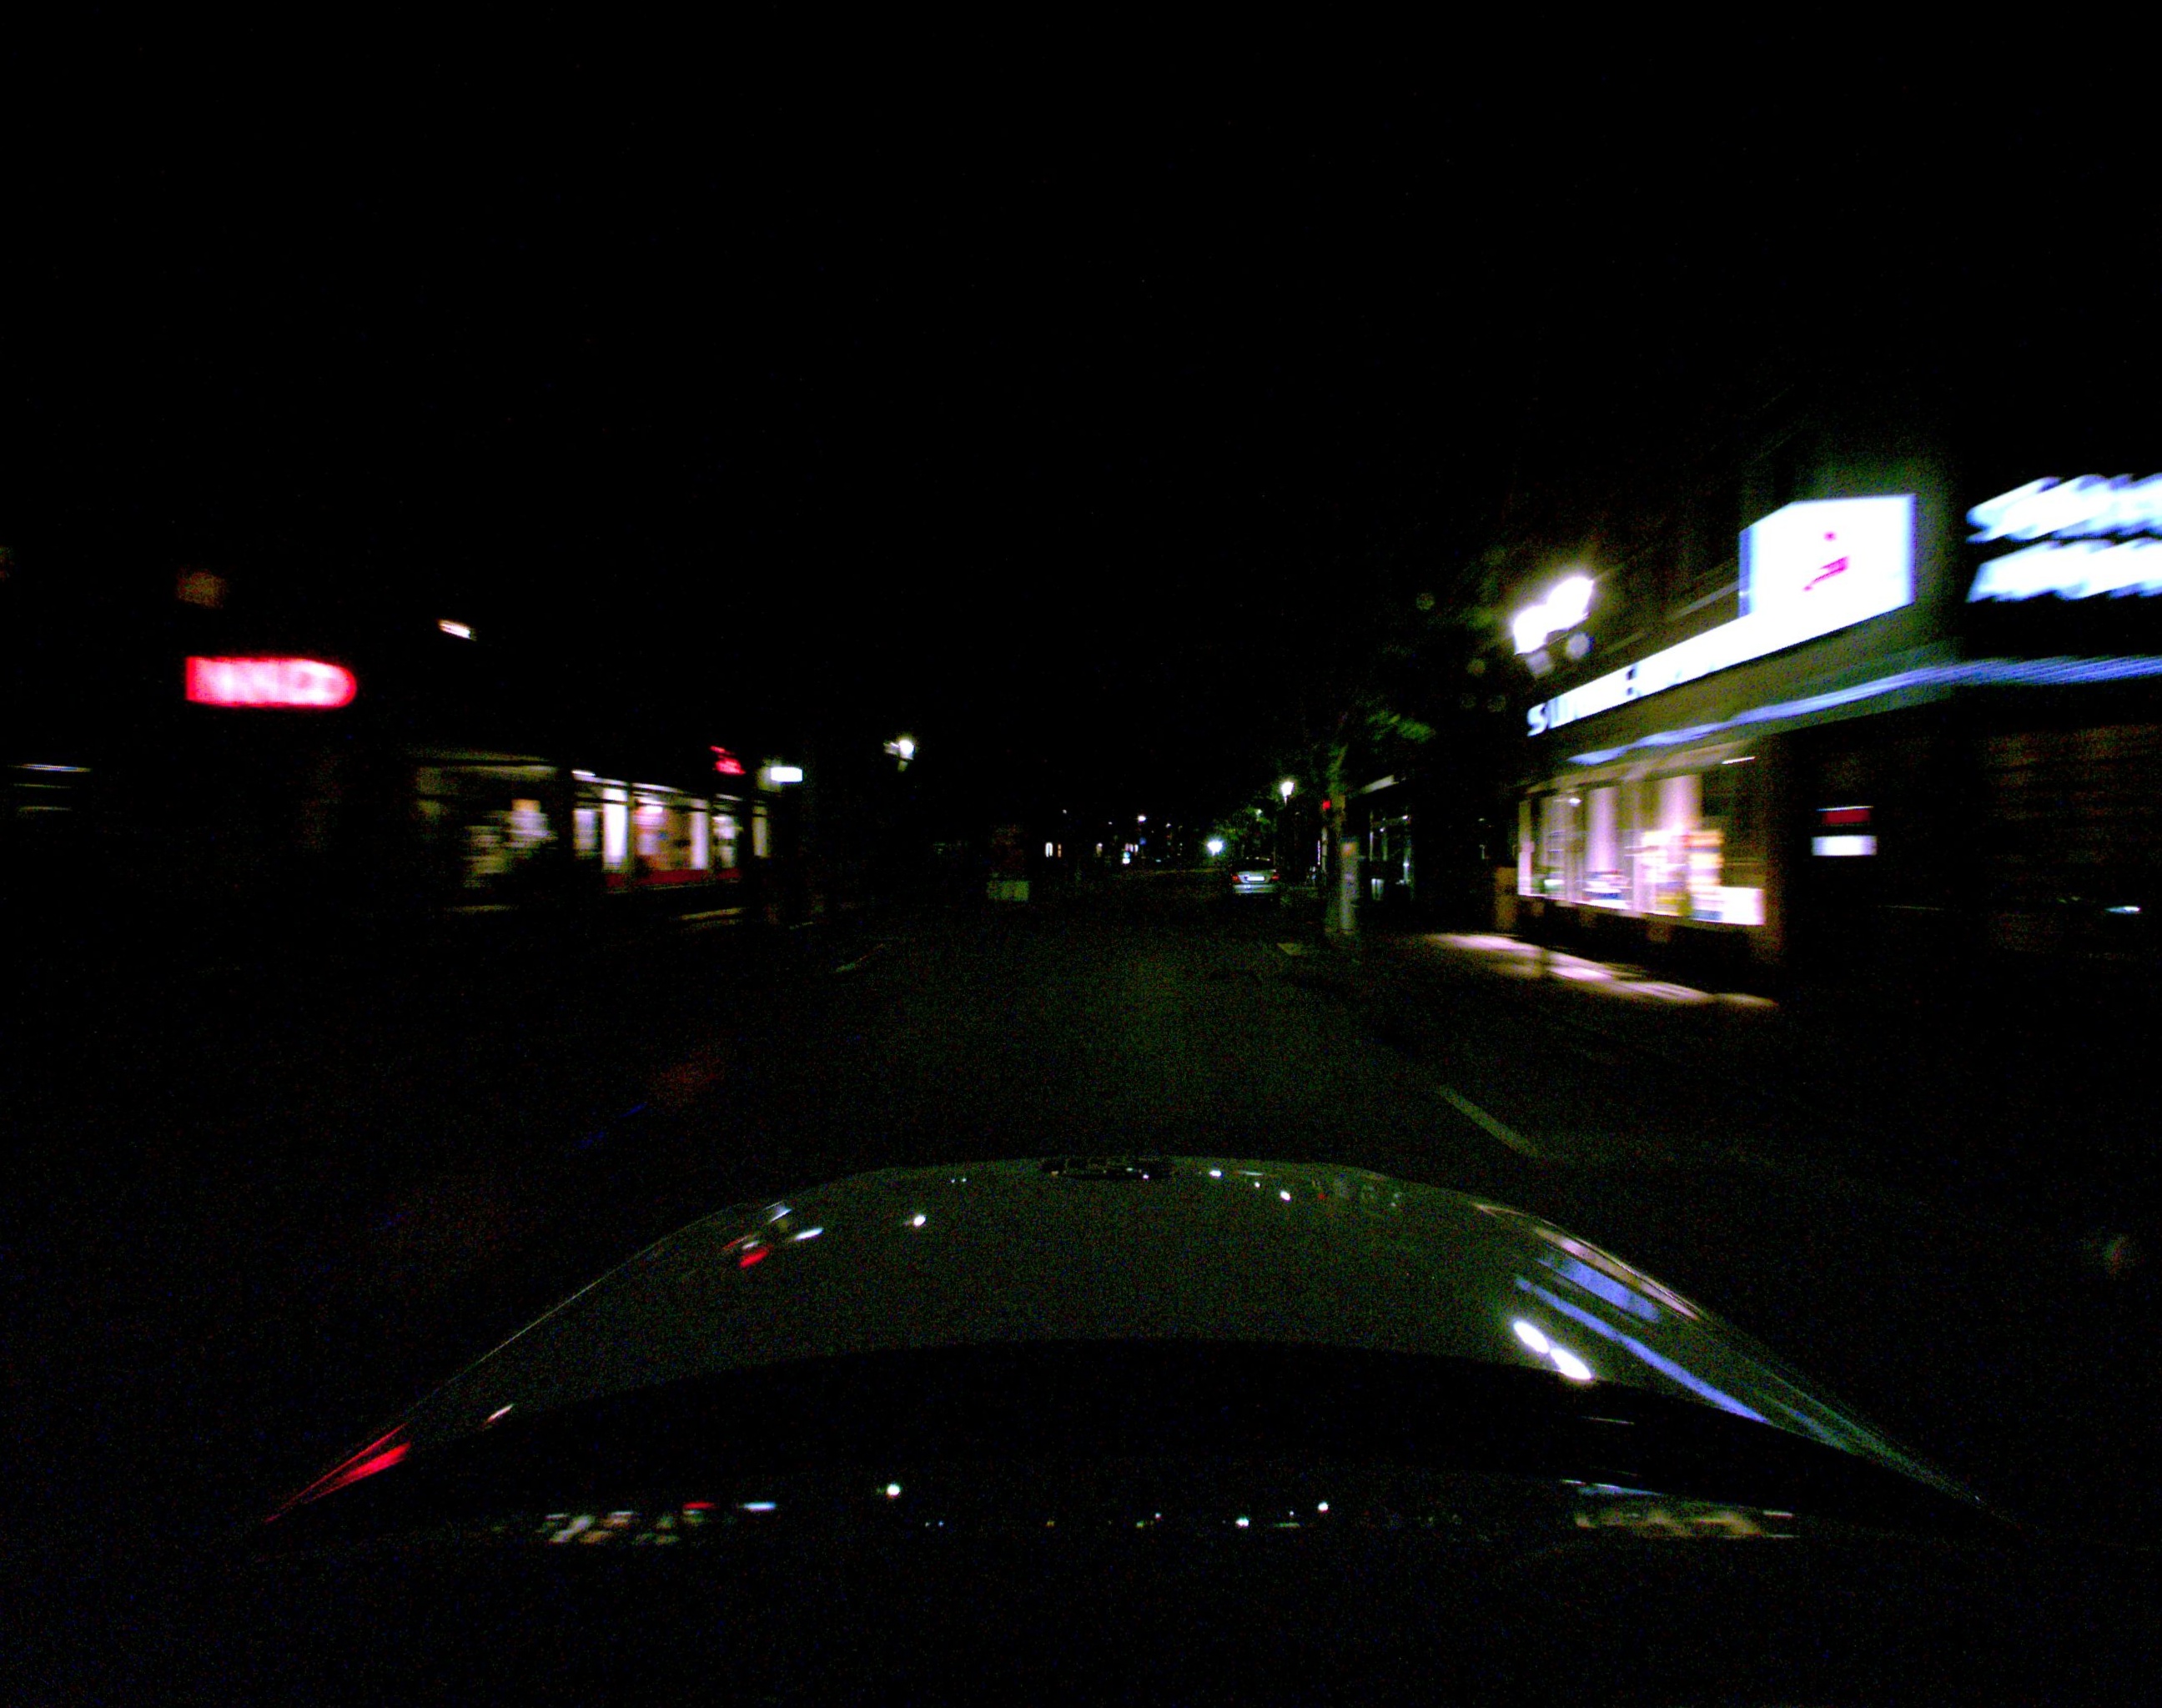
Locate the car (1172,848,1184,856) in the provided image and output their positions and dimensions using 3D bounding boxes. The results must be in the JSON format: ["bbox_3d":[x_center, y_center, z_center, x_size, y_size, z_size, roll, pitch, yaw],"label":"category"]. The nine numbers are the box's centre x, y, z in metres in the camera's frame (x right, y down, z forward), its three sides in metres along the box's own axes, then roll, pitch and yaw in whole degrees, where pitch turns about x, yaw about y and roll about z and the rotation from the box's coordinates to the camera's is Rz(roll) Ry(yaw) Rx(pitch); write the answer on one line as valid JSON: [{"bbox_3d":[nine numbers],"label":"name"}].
[{"bbox_3d":[18.848,-0.378,158.046,1.902,1.370,4.472,-1,1,11],"label":"car"}]

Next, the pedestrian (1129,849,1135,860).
[{"bbox_3d":[7.667,0.054,122.475,0.764,1.656,0.819,-1,2,11],"label":"pedestrian"}]

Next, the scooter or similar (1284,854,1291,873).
[{"bbox_3d":[13.954,0.667,55.063,0.370,1.277,1.309,-1,-1,10],"label":"scooter or similar"}]

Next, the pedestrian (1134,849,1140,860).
[{"bbox_3d":[8.434,0.049,122.350,0.764,1.656,0.784,-1,2,11],"label":"pedestrian"}]

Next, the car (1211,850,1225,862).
[{"bbox_3d":[18.274,0.231,108.937,1.665,1.459,3.684,-1,0,8],"label":"car"}]

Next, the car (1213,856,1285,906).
[{"bbox_3d":[5.413,0.816,26.700,1.726,1.441,4.502,-1,0,4],"label":"car"}]

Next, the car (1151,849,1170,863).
[{"bbox_3d":[10.183,0.197,104.459,2.005,1.691,5.017,1,1,10],"label":"car"}]
